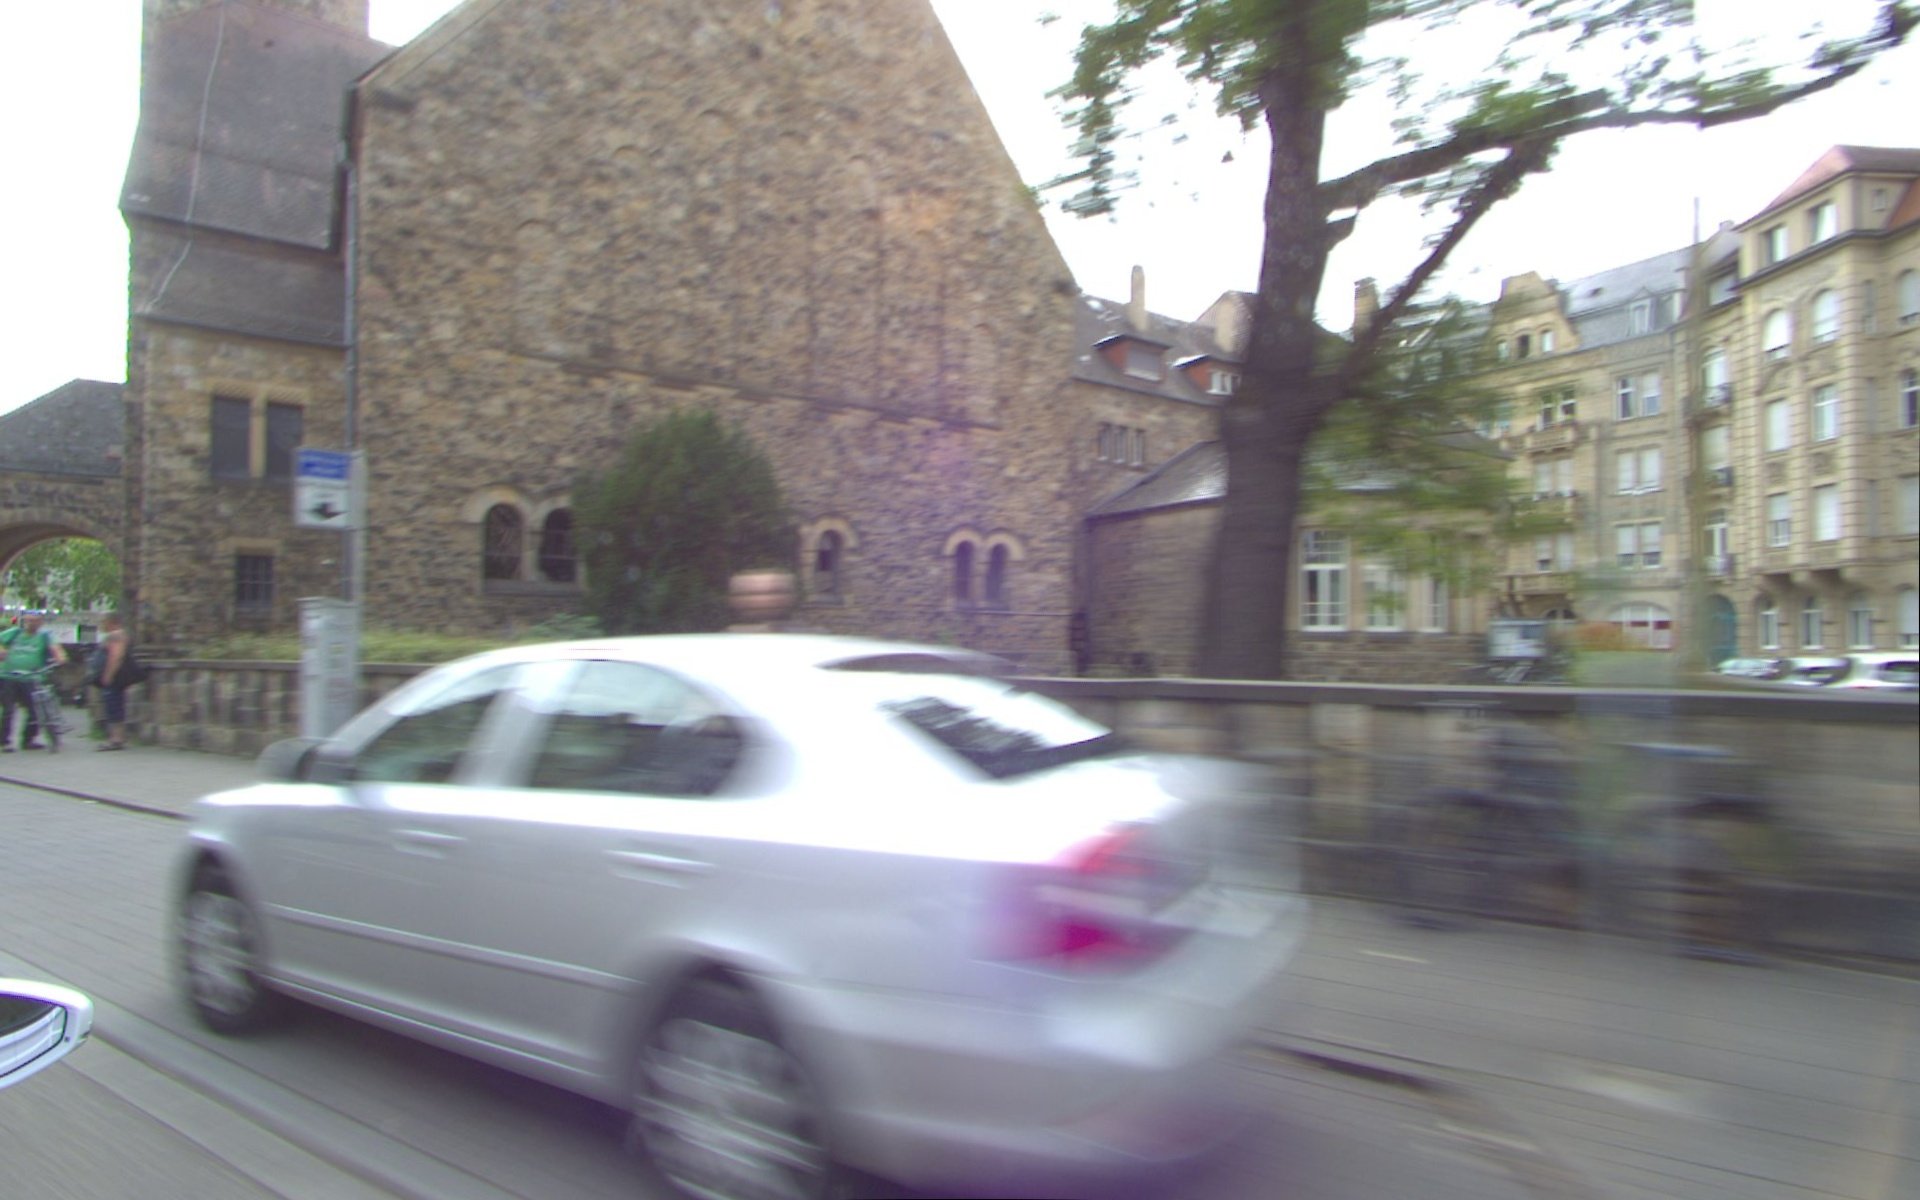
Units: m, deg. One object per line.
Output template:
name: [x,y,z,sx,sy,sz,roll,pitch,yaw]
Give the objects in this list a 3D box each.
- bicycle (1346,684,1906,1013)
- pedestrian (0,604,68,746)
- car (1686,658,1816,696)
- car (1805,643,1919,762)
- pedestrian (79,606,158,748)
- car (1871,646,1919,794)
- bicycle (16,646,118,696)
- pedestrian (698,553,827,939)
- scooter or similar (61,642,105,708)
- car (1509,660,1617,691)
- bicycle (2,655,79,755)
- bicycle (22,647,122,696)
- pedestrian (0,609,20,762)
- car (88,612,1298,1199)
bicycle: [2.786,0.973,4.428,1.950,1.119,0.521,-1,-2,33]
pedestrian: [-11.765,0.935,12.629,0.499,1.741,0.532,0,-2,9]
car: [30.516,2.990,38.814,1.605,1.395,4.158,0,-5,-2]
car: [14.075,1.466,14.851,1.821,1.555,4.016,2,-1,33]
pedestrian: [-10.566,0.958,12.581,0.521,1.741,0.509,0,-2,11]
car: [11.016,1.294,10.253,1.821,1.555,4.016,2,-1,33]
bicycle: [-21.068,1.655,23.672,1.755,1.126,0.541,2,-2,-40]
pedestrian: [-0.955,0.676,4.879,0.404,1.757,0.467,-1,-2,31]
scooter or similar: [-17.070,1.434,19.517,0.540,1.222,1.470,1,-2,-38]
car: [28.552,3.610,47.537,1.613,1.395,4.137,2,-5,-28]
bicycle: [-11.561,1.279,12.626,0.528,1.164,1.740,2,-3,-37]
bicycle: [-21.413,1.706,24.181,1.763,1.126,0.541,2,-2,-40]
pedestrian: [-11.212,0.968,11.385,0.521,1.741,0.509,0,-2,9]
car: [-1.190,0.835,3.672,4.354,1.487,1.753,-1,-2,31]
